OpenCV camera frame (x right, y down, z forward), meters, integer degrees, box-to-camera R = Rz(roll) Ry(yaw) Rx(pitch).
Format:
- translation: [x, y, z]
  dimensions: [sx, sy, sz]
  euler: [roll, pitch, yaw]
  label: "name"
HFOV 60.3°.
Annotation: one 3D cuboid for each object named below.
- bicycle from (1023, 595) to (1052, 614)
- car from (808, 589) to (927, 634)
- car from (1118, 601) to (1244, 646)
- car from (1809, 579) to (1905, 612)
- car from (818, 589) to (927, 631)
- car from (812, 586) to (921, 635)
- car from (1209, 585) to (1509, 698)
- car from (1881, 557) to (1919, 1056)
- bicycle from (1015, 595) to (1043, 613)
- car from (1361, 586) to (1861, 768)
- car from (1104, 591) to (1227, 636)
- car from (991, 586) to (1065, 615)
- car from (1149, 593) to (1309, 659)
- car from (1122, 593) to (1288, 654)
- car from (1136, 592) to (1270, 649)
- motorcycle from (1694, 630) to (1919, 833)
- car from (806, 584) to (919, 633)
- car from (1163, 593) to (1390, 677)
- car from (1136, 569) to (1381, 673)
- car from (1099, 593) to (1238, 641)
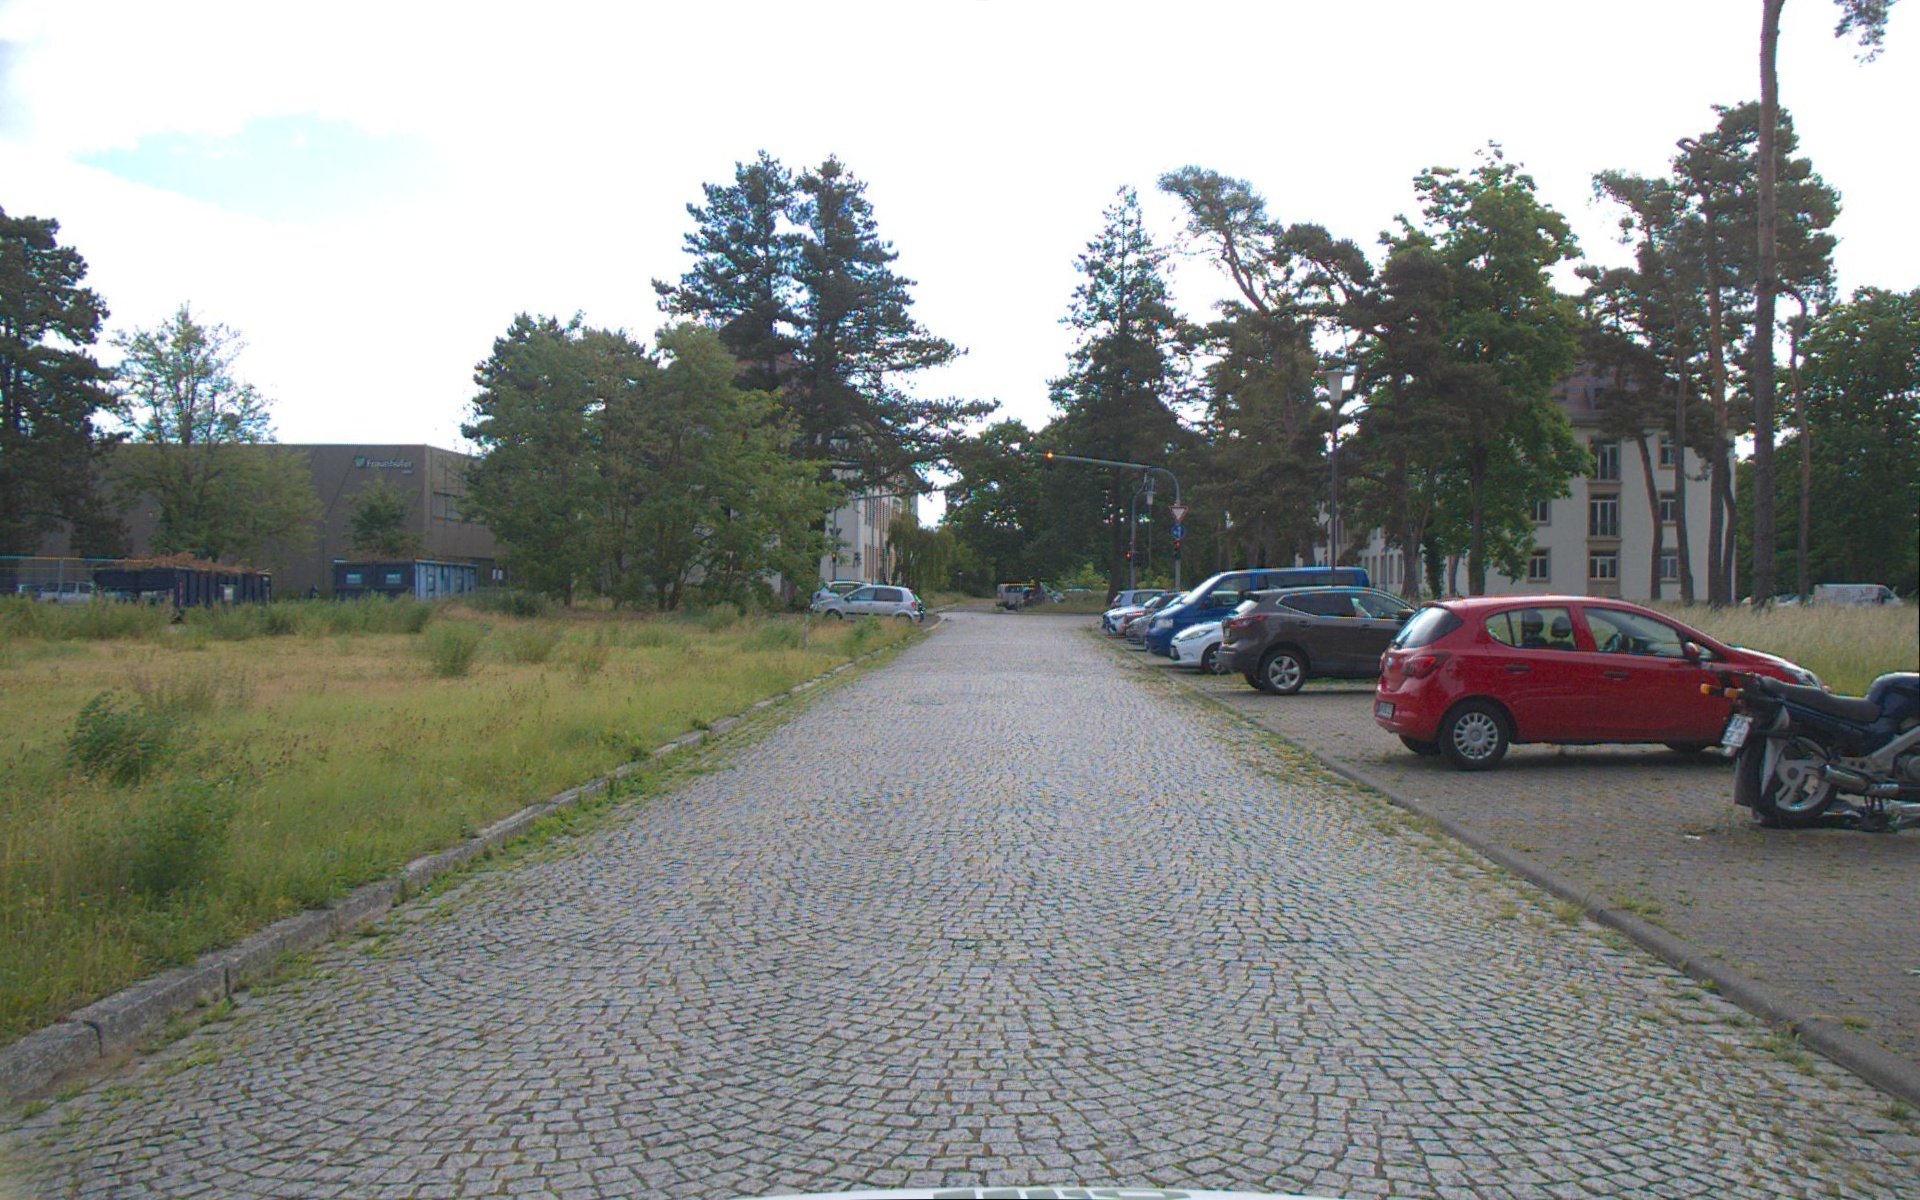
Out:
- translation: [5.147, 0.317, 110.168]
  dimensions: [1.844, 1.191, 0.664]
  euler: [2, 0, -4]
  label: "bicycle"
- translation: [-3.351, 0.405, 59.911]
  dimensions: [4.213, 1.581, 1.810]
  euler: [-1, 0, -4]
  label: "car"
- translation: [6.376, 0.678, 47.958]
  dimensions: [3.512, 1.244, 1.629]
  euler: [-1, 0, 3]
  label: "car"
- translation: [59.449, -0.296, 109.701]
  dimensions: [5.190, 2.055, 2.106]
  euler: [2, 0, 2]
  label: "car"
- translation: [-3.439, 0.392, 65.176]
  dimensions: [4.213, 1.581, 1.810]
  euler: [-1, 0, -4]
  label: "car"
- translation: [-3.197, 0.350, 57.309]
  dimensions: [3.645, 1.506, 1.673]
  euler: [2, 0, -1]
  label: "car"
- translation: [6.029, 0.607, 25.346]
  dimensions: [4.117, 1.623, 1.953]
  euler: [-1, 0, -1]
  label: "car"
- translation: [5.242, 0.669, 4.745]
  dimensions: [4.158, 1.651, 1.886]
  euler: [-1, 0, 0]
  label: "car"
- translation: [4.752, 0.301, 113.677]
  dimensions: [1.844, 1.191, 0.664]
  euler: [2, 0, -4]
  label: "bicycle"
- translation: [5.788, 0.654, 15.041]
  dimensions: [3.843, 1.522, 1.785]
  euler: [-1, 0, 0]
  label: "car"
- translation: [7.168, 0.457, 57.968]
  dimensions: [4.053, 1.489, 1.632]
  euler: [-1, 0, -4]
  label: "car"
- translation: [5.151, 0.064, 124.981]
  dimensions: [5.279, 2.138, 2.173]
  euler: [0, 0, -11]
  label: "car"
- translation: [6.388, 0.595, 39.555]
  dimensions: [3.577, 1.504, 1.766]
  euler: [-1, 0, 1]
  label: "car"
- translation: [6.239, 0.593, 42.465]
  dimensions: [4.044, 1.472, 1.766]
  euler: [-1, 0, 2]
  label: "car"
- translation: [6.618, 0.548, 45.324]
  dimensions: [3.433, 1.513, 1.743]
  euler: [-1, 0, 1]
  label: "car"
- translation: [5.895, 0.816, 10.542]
  dimensions: [2.184, 1.223, 0.568]
  euler: [-1, 0, -1]
  label: "motorcycle"
- translation: [-3.695, 0.315, 62.727]
  dimensions: [4.213, 1.762, 1.651]
  euler: [-1, 0, -4]
  label: "car"
- translation: [6.011, 0.647, 31.707]
  dimensions: [4.014, 1.504, 1.721]
  euler: [-1, 0, -1]
  label: "car"
- translation: [6.107, 0.422, 34.250]
  dimensions: [4.697, 2.039, 1.966]
  euler: [-1, 0, 0]
  label: "car"
- translation: [6.600, 0.519, 52.659]
  dimensions: [4.104, 1.462, 1.753]
  euler: [-1, 0, -6]
  label: "car"
